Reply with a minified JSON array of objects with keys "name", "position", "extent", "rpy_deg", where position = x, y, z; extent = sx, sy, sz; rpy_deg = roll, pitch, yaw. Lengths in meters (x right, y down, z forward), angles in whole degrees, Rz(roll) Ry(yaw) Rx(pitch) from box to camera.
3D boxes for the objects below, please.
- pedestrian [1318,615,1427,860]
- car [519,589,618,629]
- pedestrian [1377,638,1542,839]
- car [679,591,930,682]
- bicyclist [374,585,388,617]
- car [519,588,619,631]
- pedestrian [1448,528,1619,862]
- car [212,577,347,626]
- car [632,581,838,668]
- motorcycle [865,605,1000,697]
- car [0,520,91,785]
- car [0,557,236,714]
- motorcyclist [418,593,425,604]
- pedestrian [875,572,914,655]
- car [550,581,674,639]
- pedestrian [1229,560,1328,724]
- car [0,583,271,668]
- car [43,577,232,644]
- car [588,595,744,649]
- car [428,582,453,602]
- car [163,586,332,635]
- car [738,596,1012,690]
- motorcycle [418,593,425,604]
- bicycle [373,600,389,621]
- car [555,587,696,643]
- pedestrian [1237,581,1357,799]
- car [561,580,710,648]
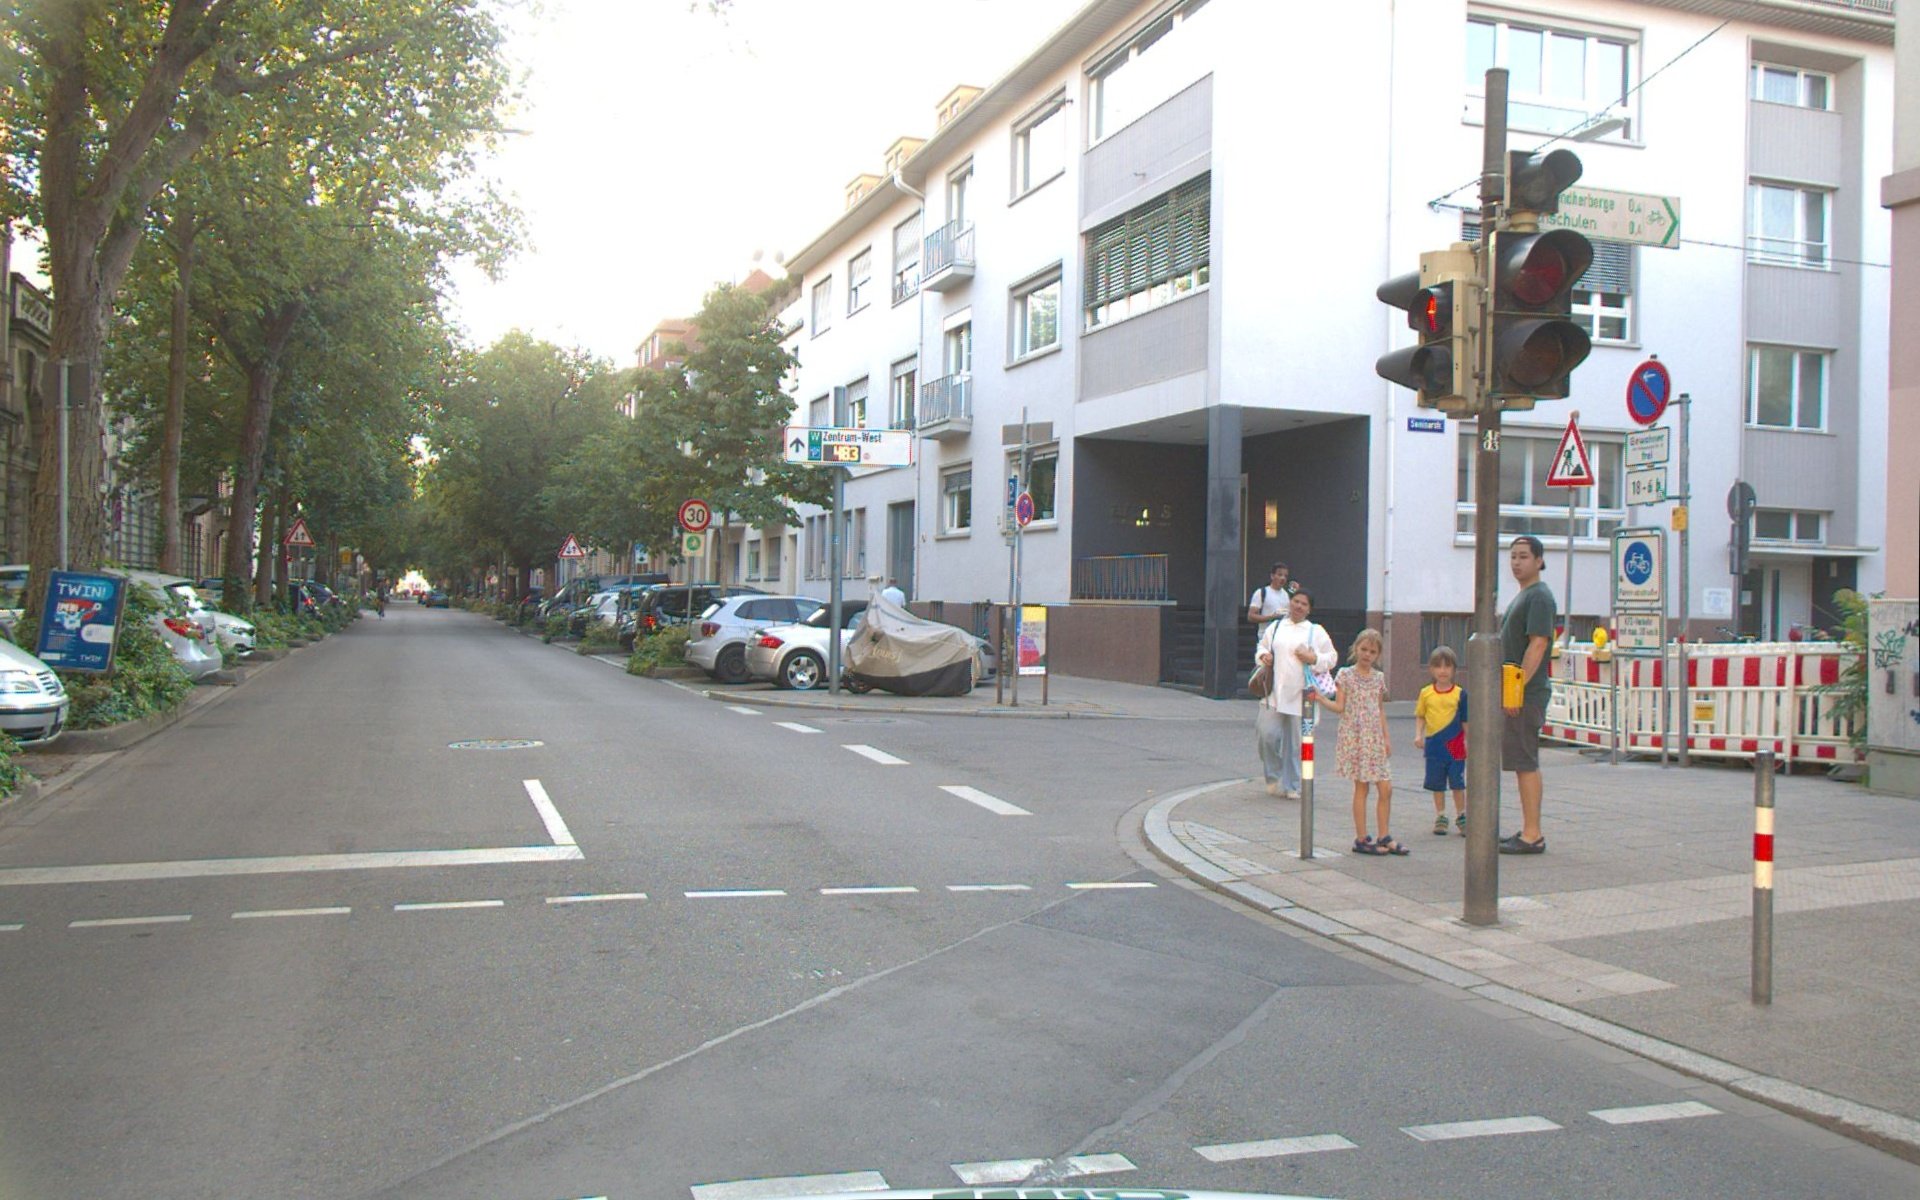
[{"name":"pedestrian","position":[2.372,0.772,9.549],"extent":[0.494,1.359,0.541],"rpy_deg":[1,0,4]},{"name":"car","position":[-16.722,0.383,70.595],"extent":[3.953,1.630,1.698],"rpy_deg":[1,0,-19]},{"name":"pedestrian","position":[3.086,0.830,10.255],"extent":[0.559,1.140,0.829],"rpy_deg":[0,1,-29]},{"name":"car","position":[-2.643,0.594,27.981],"extent":[3.953,1.467,1.698],"rpy_deg":[0,0,-19]},{"name":"bicyclist","position":[-27.605,0.047,78.868],"extent":[0.564,1.495,0.638],"rpy_deg":[2,-1,-24]},{"name":"car","position":[-16.177,0.393,68.551],"extent":[3.909,1.605,1.904],"rpy_deg":[2,-1,-13]},{"name":"pedestrian","position":[3.325,0.510,9.664],"extent":[0.869,1.847,0.794],"rpy_deg":[1,2,16]},{"name":"car","position":[-25.315,0.052,61.693],"extent":[4.477,1.721,1.824],"rpy_deg":[1,0,-18]},{"name":"car","position":[-4.638,0.494,34.032],"extent":[3.953,1.720,1.698],"rpy_deg":[0,0,-19]},{"name":"motorcycle","position":[-0.384,0.690,22.637],"extent":[1.767,1.220,0.611],"rpy_deg":[0,0,-10]},{"name":"car","position":[-8.846,0.341,11.778],"extent":[4.483,1.867,1.821],"rpy_deg":[1,0,-22]},{"name":"car","position":[-10.864,0.379,18.982],"extent":[4.477,1.718,1.824],"rpy_deg":[1,0,-18]},{"name":"motorcyclist","position":[-62.870,-0.169,193.094],"extent":[0.806,1.258,0.846],"rpy_deg":[2,-1,-19]},{"name":"pedestrian","position":[-1.441,0.288,36.207],"extent":[0.692,1.782,0.697],"rpy_deg":[2,0,-15]},{"name":"car","position":[-11.895,0.344,56.485],"extent":[3.953,1.862,1.698],"rpy_deg":[1,0,-19]},{"name":"pedestrian","position":[3.747,0.487,19.493],"extent":[0.755,1.873,0.939],"rpy_deg":[2,0,-18]},{"name":"car","position":[-14.429,0.435,28.579],"extent":[4.477,1.396,1.824],"rpy_deg":[1,0,-18]},{"name":"car","position":[-20.548,0.269,41.492],"extent":[3.976,1.618,1.824],"rpy_deg":[1,0,-18]},{"name":"car","position":[-7.955,0.587,44.750],"extent":[3.953,1.434,1.698],"rpy_deg":[0,0,-19]},{"name":"car","position":[-43.819,-0.663,139.441],"extent":[1.798,1.589,4.005],"rpy_deg":[2,-1,-19]},{"name":"car","position":[-21.404,0.319,49.863],"extent":[4.477,1.434,1.824],"rpy_deg":[1,0,-18]},{"name":"car","position":[-1.336,0.647,25.667],"extent":[3.952,1.366,1.698],"rpy_deg":[0,0,-18]},{"name":"motorcycle","position":[-62.895,-0.166,193.175],"extent":[0.806,1.258,2.014],"rpy_deg":[2,-1,-18]},{"name":"bicycle","position":[-27.616,0.503,78.854],"extent":[0.564,0.966,1.731],"rpy_deg":[2,-1,-24]},{"name":"car","position":[-10.008,0.454,49.472],"extent":[3.953,1.557,1.698],"rpy_deg":[1,0,-19]},{"name":"pedestrian","position":[2.471,0.631,12.077],"extent":[0.757,1.527,0.802],"rpy_deg":[0,0,19]},{"name":"car","position":[-9.172,0.393,46.754],"extent":[3.953,1.847,1.698],"rpy_deg":[0,0,-19]}]
